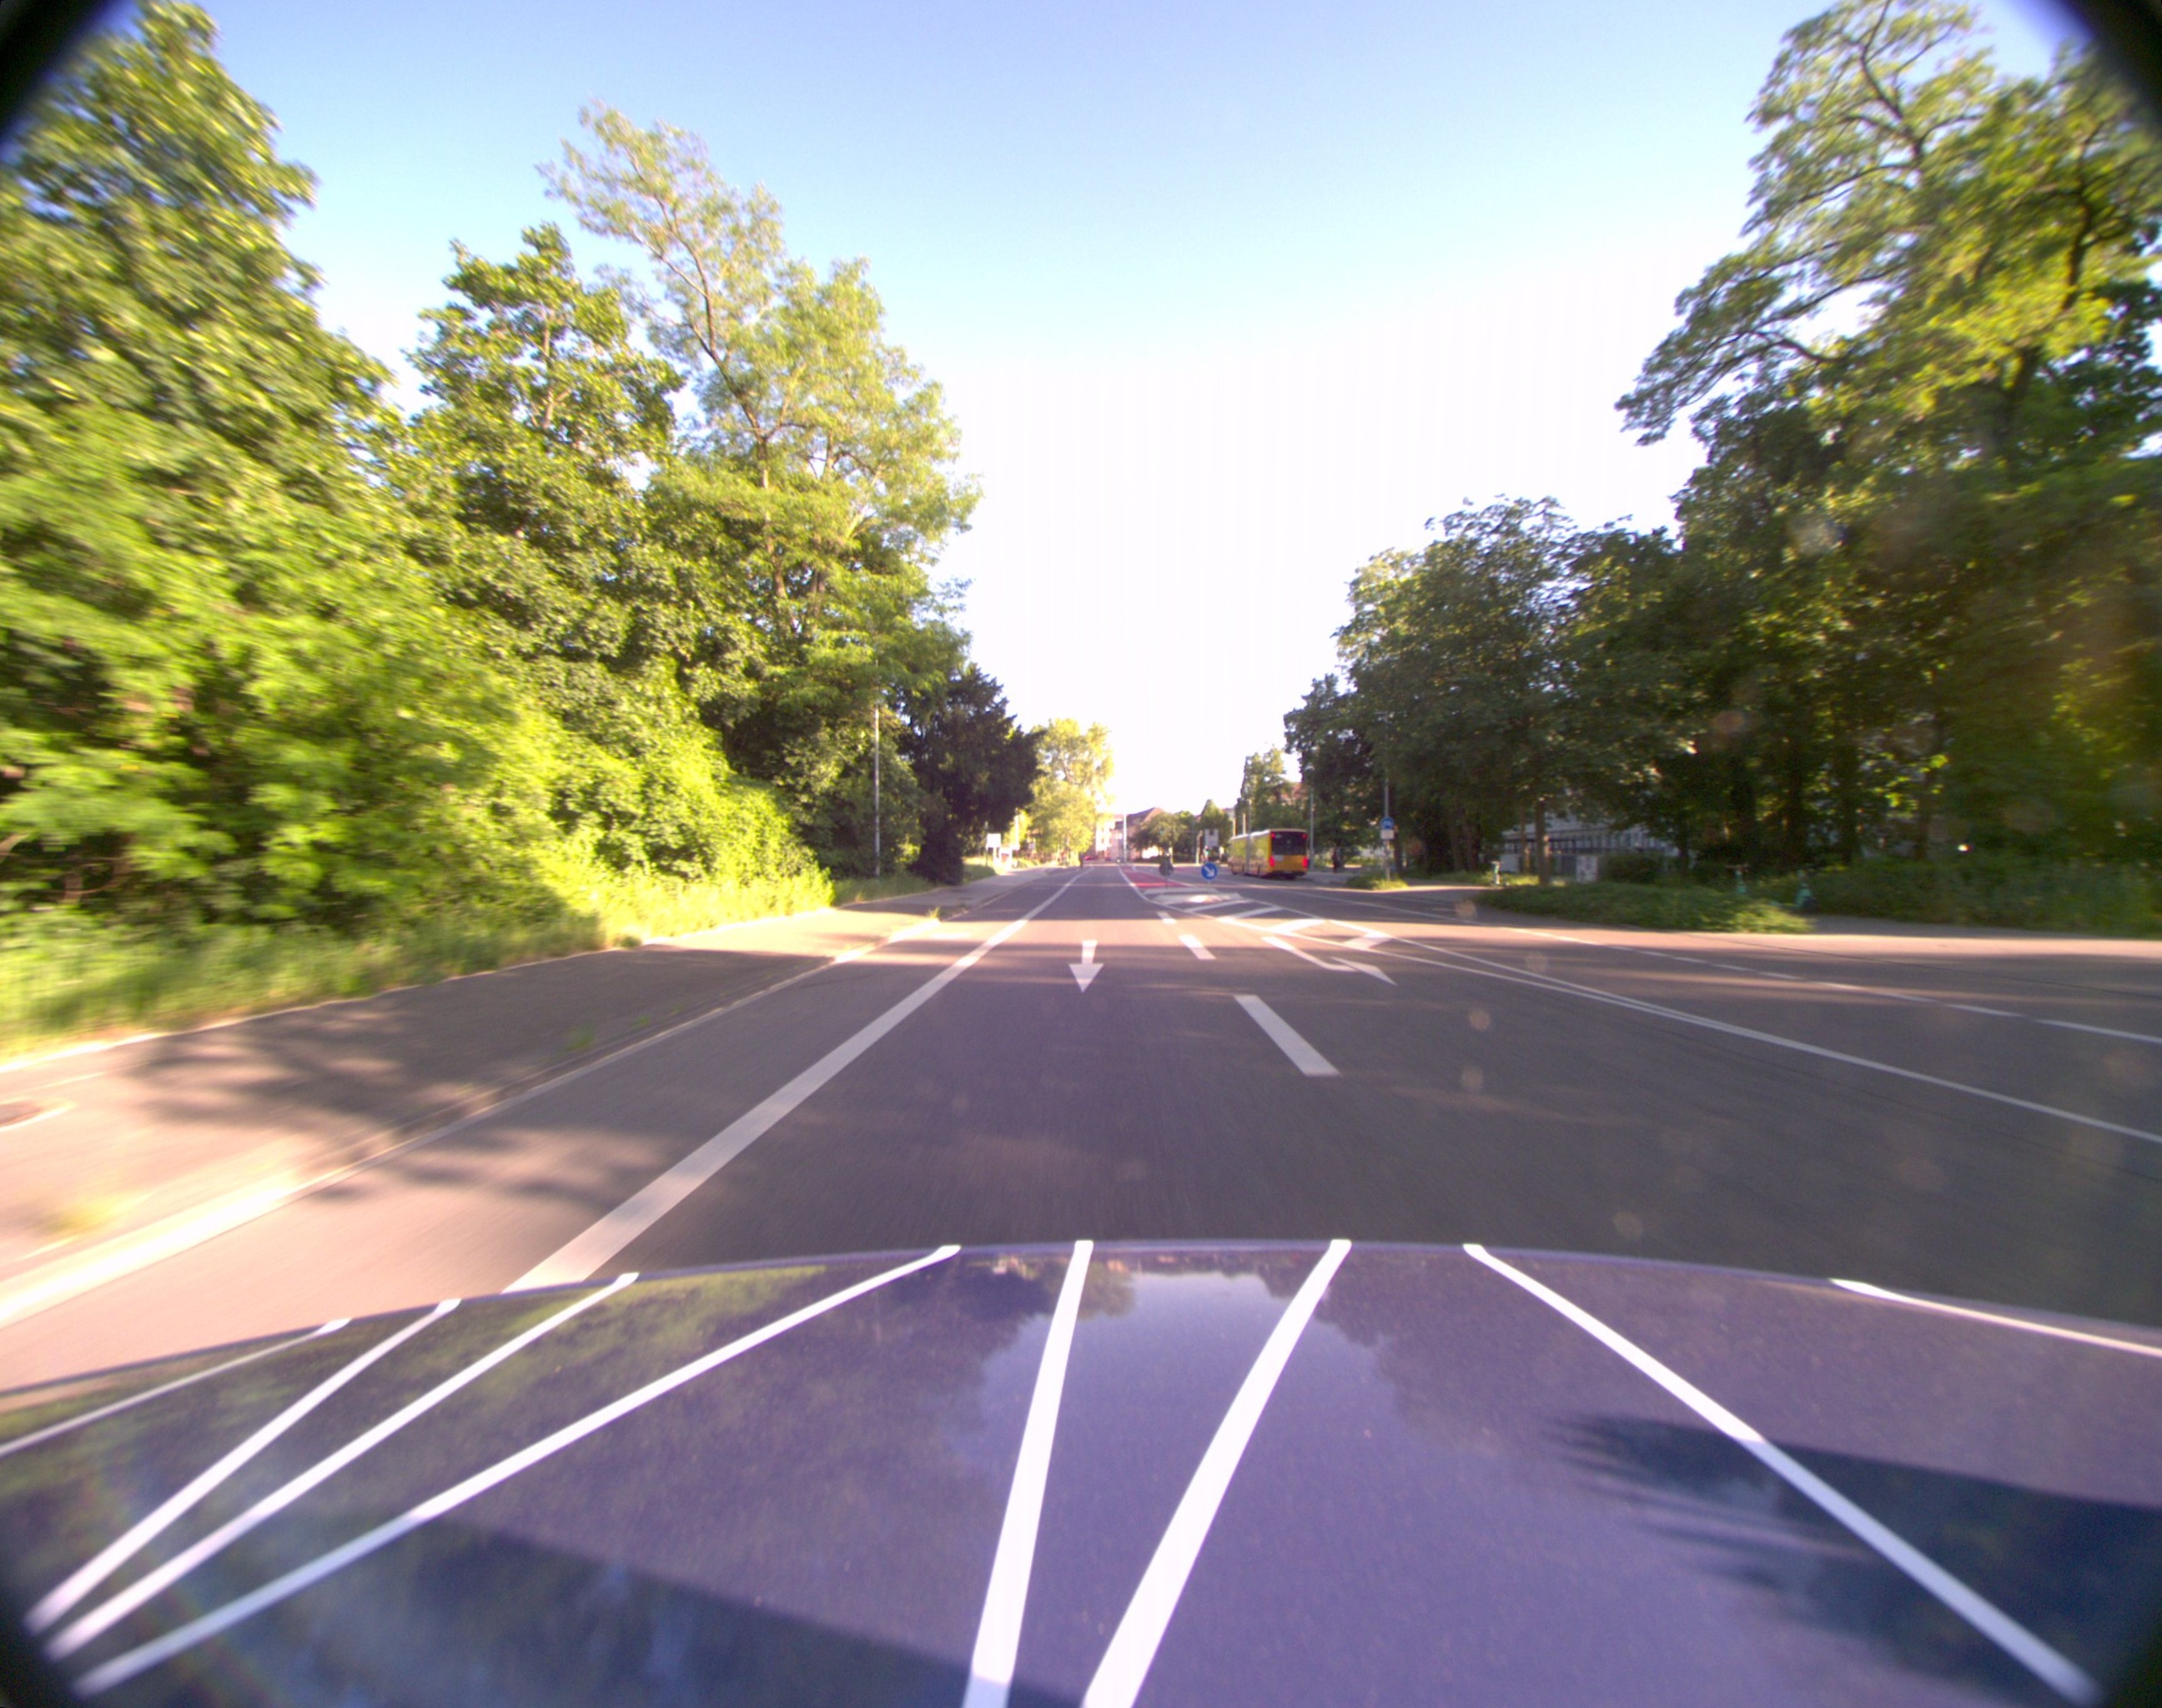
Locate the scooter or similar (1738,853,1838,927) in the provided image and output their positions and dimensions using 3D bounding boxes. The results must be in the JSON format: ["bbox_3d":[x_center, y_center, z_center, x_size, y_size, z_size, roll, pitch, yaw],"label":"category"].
[{"bbox_3d":[17.236,0.836,18.587,0.829,1.707,1.741,0,0,1],"label":"scooter or similar"}]

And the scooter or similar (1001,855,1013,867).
[{"bbox_3d":[-7.811,0.709,80.396,0.722,1.240,1.330,0,0,24],"label":"scooter or similar"}]

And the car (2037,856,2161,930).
[{"bbox_3d":[25.159,0.872,18.317,1.558,1.641,3.498,0,0,32],"label":"car"}]

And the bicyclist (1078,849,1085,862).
[{"bbox_3d":[0.088,0.149,86.828,0.694,1.482,0.801,0,1,12],"label":"bicyclist"}]

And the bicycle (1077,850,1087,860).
[{"bbox_3d":[0.095,0.134,86.841,0.694,1.089,2.138,0,0,12],"label":"bicycle"}]

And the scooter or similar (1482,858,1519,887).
[{"bbox_3d":[19.148,0.821,34.732,0.829,1.303,1.571,0,0,1],"label":"scooter or similar"}]

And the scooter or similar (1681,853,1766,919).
[{"bbox_3d":[17.322,0.818,20.529,0.829,1.707,1.741,0,0,1],"label":"scooter or similar"}]

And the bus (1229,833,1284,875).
[{"bbox_3d":[14.199,-0.033,62.194,2.847,3.178,8.600,0,0,2],"label":"bus"}]

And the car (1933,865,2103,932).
[{"bbox_3d":[22.976,1.022,18.806,1.558,1.392,3.498,3,2,32],"label":"car"}]

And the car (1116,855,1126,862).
[{"bbox_3d":[8.192,0.926,154.736,1.722,1.409,4.526,0,0,0],"label":"car"}]

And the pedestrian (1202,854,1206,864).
[{"bbox_3d":[22.421,0.907,138.107,0.691,1.672,0.681,0,1,10],"label":"pedestrian"}]

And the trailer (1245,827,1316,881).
[{"bbox_3d":[13.775,-0.029,53.212,2.861,3.336,9.363,-2,0,3],"label":"trailer"}]
